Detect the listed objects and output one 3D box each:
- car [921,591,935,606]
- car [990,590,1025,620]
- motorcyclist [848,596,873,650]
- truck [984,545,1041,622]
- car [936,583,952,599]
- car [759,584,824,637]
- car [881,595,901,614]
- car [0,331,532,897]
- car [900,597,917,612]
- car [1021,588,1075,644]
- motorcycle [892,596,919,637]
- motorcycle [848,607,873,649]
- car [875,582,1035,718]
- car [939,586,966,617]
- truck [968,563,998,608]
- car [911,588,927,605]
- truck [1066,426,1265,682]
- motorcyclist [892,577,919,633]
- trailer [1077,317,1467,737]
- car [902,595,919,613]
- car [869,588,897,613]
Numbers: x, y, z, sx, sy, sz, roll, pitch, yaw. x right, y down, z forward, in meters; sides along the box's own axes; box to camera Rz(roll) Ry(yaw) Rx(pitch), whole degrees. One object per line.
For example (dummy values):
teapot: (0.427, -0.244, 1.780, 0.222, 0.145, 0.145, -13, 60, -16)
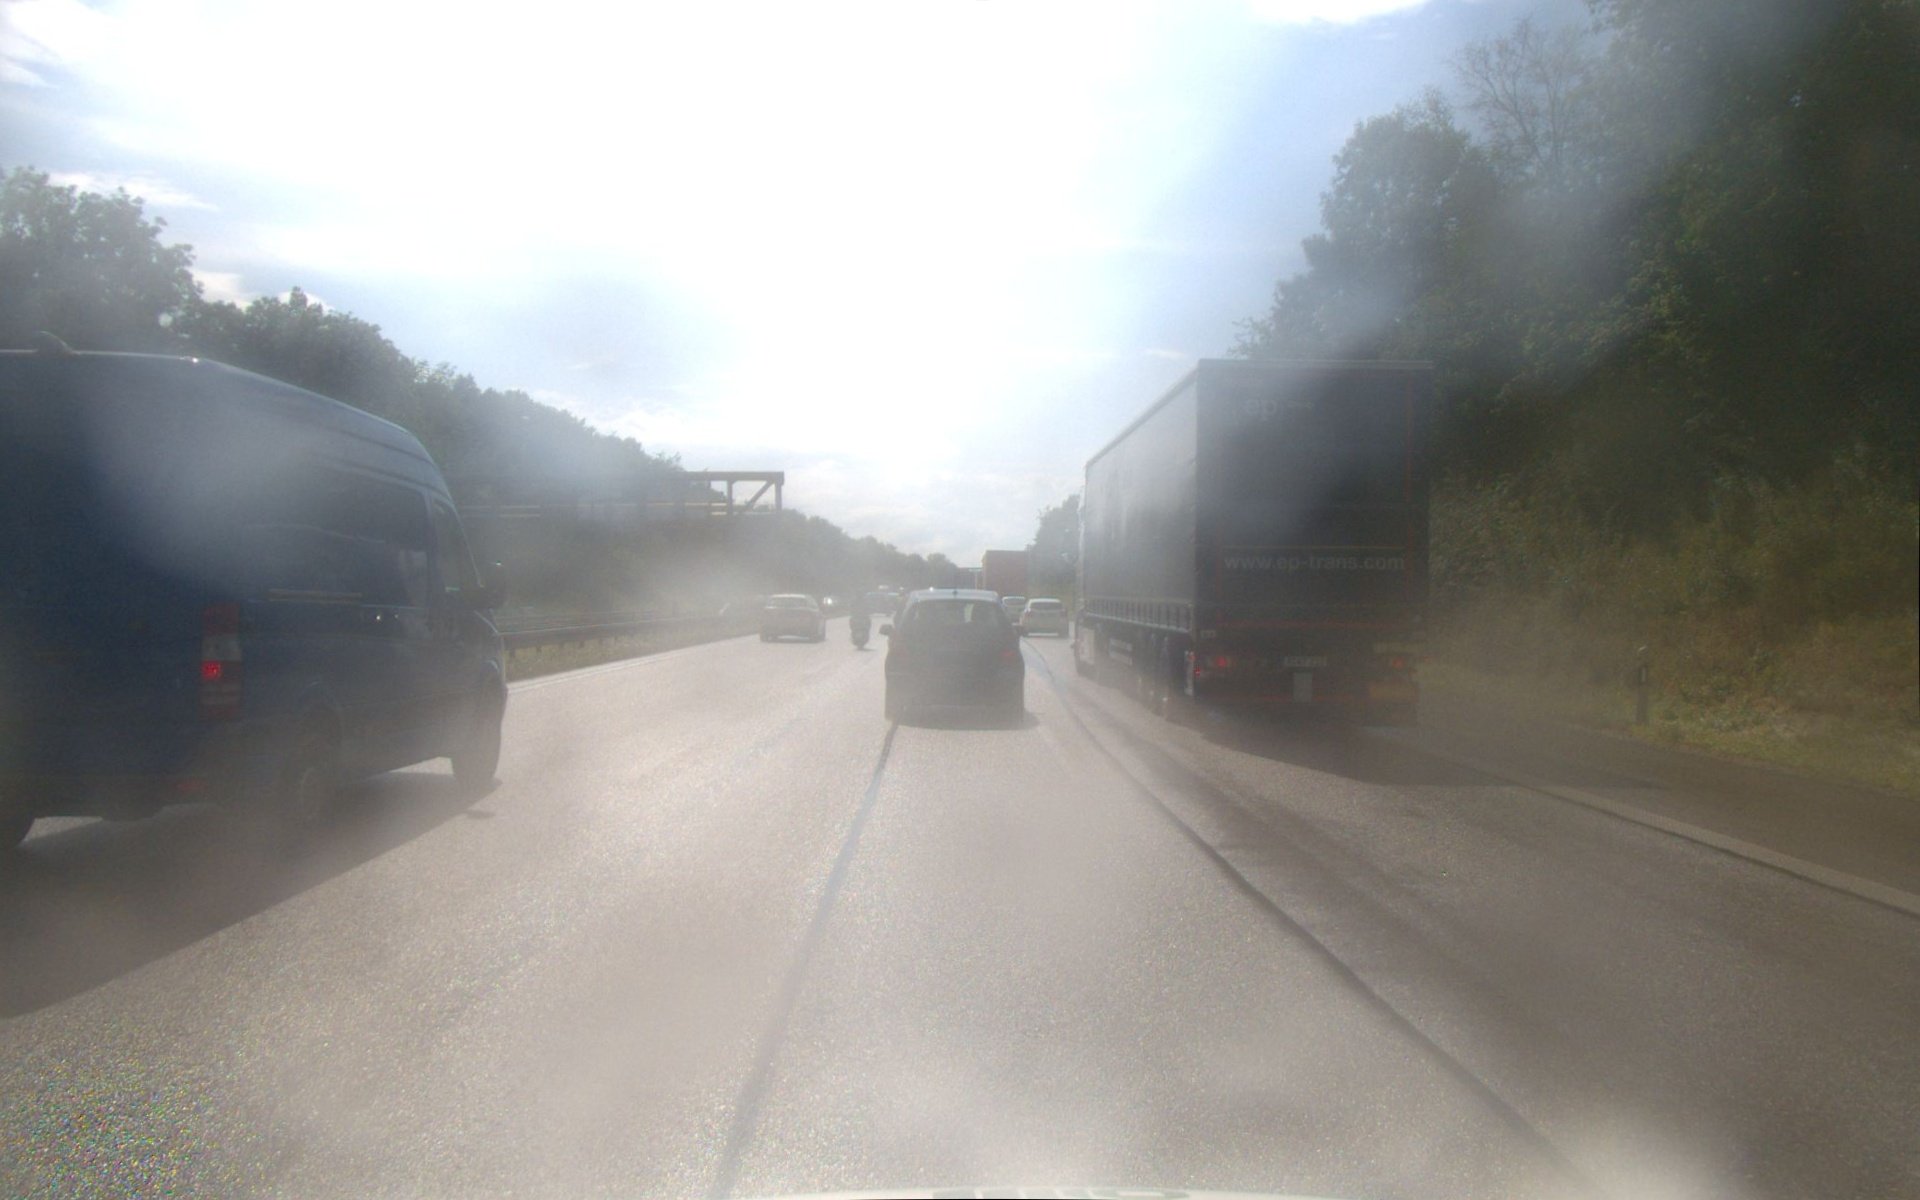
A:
car: (-4.497, -0.191, 234.296, 1.953, 2.049, 3.999, 1, 0, -1)
car: (2.415, 0.244, 84.716, 1.641, 1.516, 3.436, 1, 0, -1)
motorcyclist: (-2.764, 0.628, 45.693, 0.657, 1.467, 1.019, 1, 0, -4)
truck: (3.165, -0.971, 102.524, 3.137, 4.481, 9.431, 1, 0, -1)
car: (-1.597, -0.909, 164.164, 1.599, 1.516, 3.436, 1, 0, -1)
car: (-5.390, 0.328, 53.353, 1.723, 1.622, 4.329, 1, 0, -1)
car: (-6.021, 0.380, 144.757, 1.641, 1.625, 3.436, 1, 0, -1)
car: (-4.481, 0.057, 10.780, 1.975, 2.695, 5.775, 1, 0, -1)
car: (-5.330, 0.433, 170.935, 1.641, 1.516, 3.436, 1, 0, -1)
car: (3.335, 0.611, 63.297, 1.811, 2.049, 4.086, 1, 0, -1)
motorcycle: (-1.804, 0.532, 54.418, 0.803, 1.285, 2.116, 1, 0, -4)
motorcycle: (-2.767, 0.762, 45.714, 0.662, 1.106, 1.980, 1, 0, -4)
car: (-0.104, 0.586, 21.746, 1.876, 1.592, 4.313, 1, 0, -1)
car: (-0.491, 0.108, 106.703, 1.641, 1.970, 3.772, 1, 0, -1)
truck: (2.492, -1.500, 182.068, 2.823, 4.769, 12.655, 1, 0, -1)
car: (-5.239, -0.425, 210.498, 1.953, 2.049, 3.999, 1, 0, -1)
truck: (3.756, -0.787, 31.680, 2.990, 4.400, 5.885, 1, 0, -1)
motorcyclist: (-1.802, 0.170, 54.344, 0.805, 1.791, 1.389, 1, 0, -4)
trailer: (3.792, -0.780, 24.477, 3.025, 4.388, 14.104, 1, 0, 0)
car: (-5.843, 0.439, 194.541, 1.953, 2.049, 3.999, 1, 0, -1)
car: (-5.311, 0.050, 114.665, 1.854, 1.656, 4.194, 1, 0, -1)
